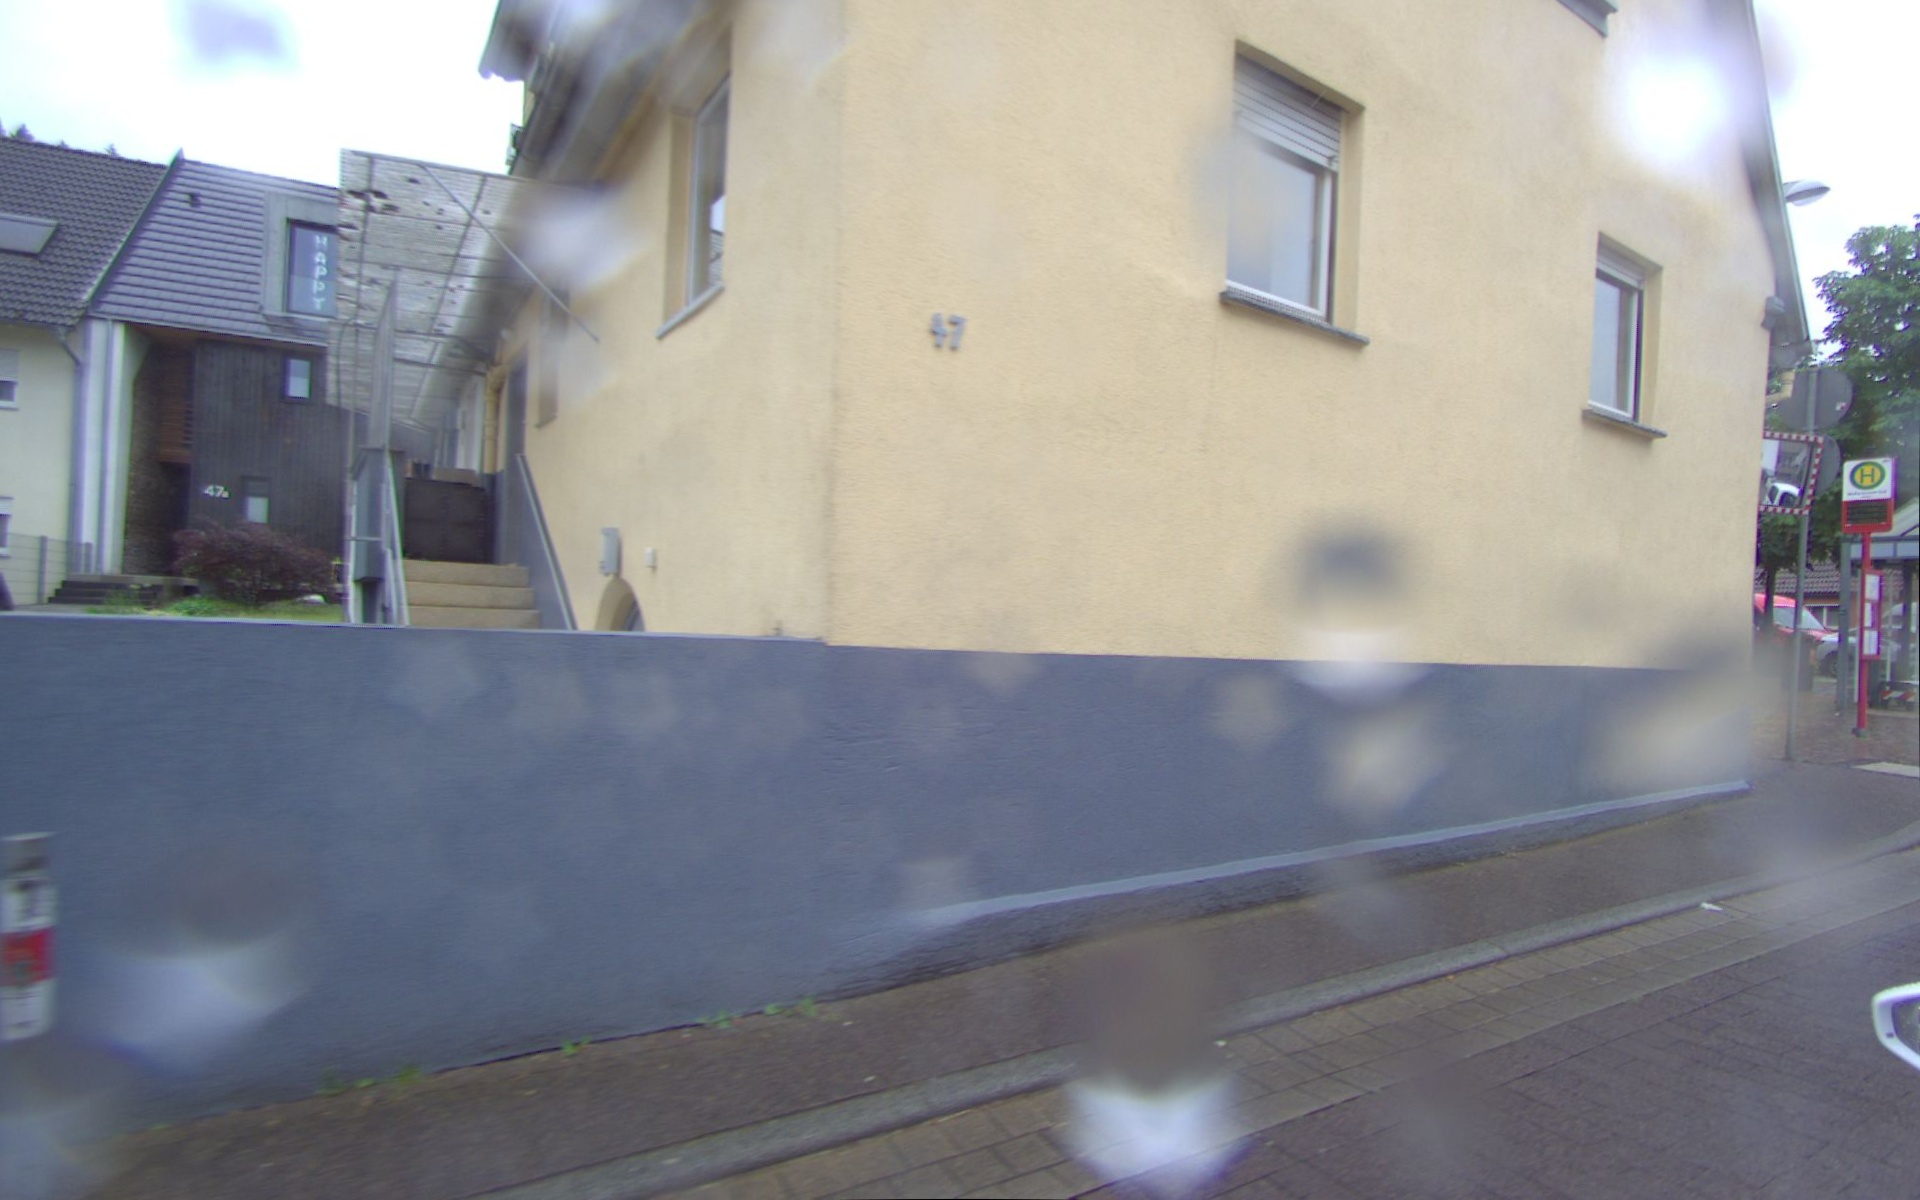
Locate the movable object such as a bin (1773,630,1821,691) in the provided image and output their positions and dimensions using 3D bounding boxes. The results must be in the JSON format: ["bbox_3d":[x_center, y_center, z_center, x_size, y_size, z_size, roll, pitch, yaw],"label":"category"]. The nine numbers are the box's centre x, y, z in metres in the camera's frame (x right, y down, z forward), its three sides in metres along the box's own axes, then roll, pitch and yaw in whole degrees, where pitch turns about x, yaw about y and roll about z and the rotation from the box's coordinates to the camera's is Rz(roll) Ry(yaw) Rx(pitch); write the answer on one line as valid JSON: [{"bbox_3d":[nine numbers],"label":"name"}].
[{"bbox_3d":[16.570,1.203,19.884,0.598,1.161,0.558,4,-2,-33],"label":"movable object such as a bin"}]

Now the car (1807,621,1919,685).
[{"bbox_3d":[26.015,1.462,27.253,1.848,1.570,4.452,2,1,-10],"label":"car"}]

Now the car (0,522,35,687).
[{"bbox_3d":[-10.951,0.046,9.977,2.016,1.743,4.170,2,3,-35],"label":"car"}]

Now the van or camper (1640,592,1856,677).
[{"bbox_3d":[25.597,1.052,33.014,2.114,2.506,5.873,1,0,-5],"label":"van or camper"}]

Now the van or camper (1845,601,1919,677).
[{"bbox_3d":[32.207,1.263,32.637,2.169,2.468,5.156,1,-1,-5],"label":"van or camper"}]
